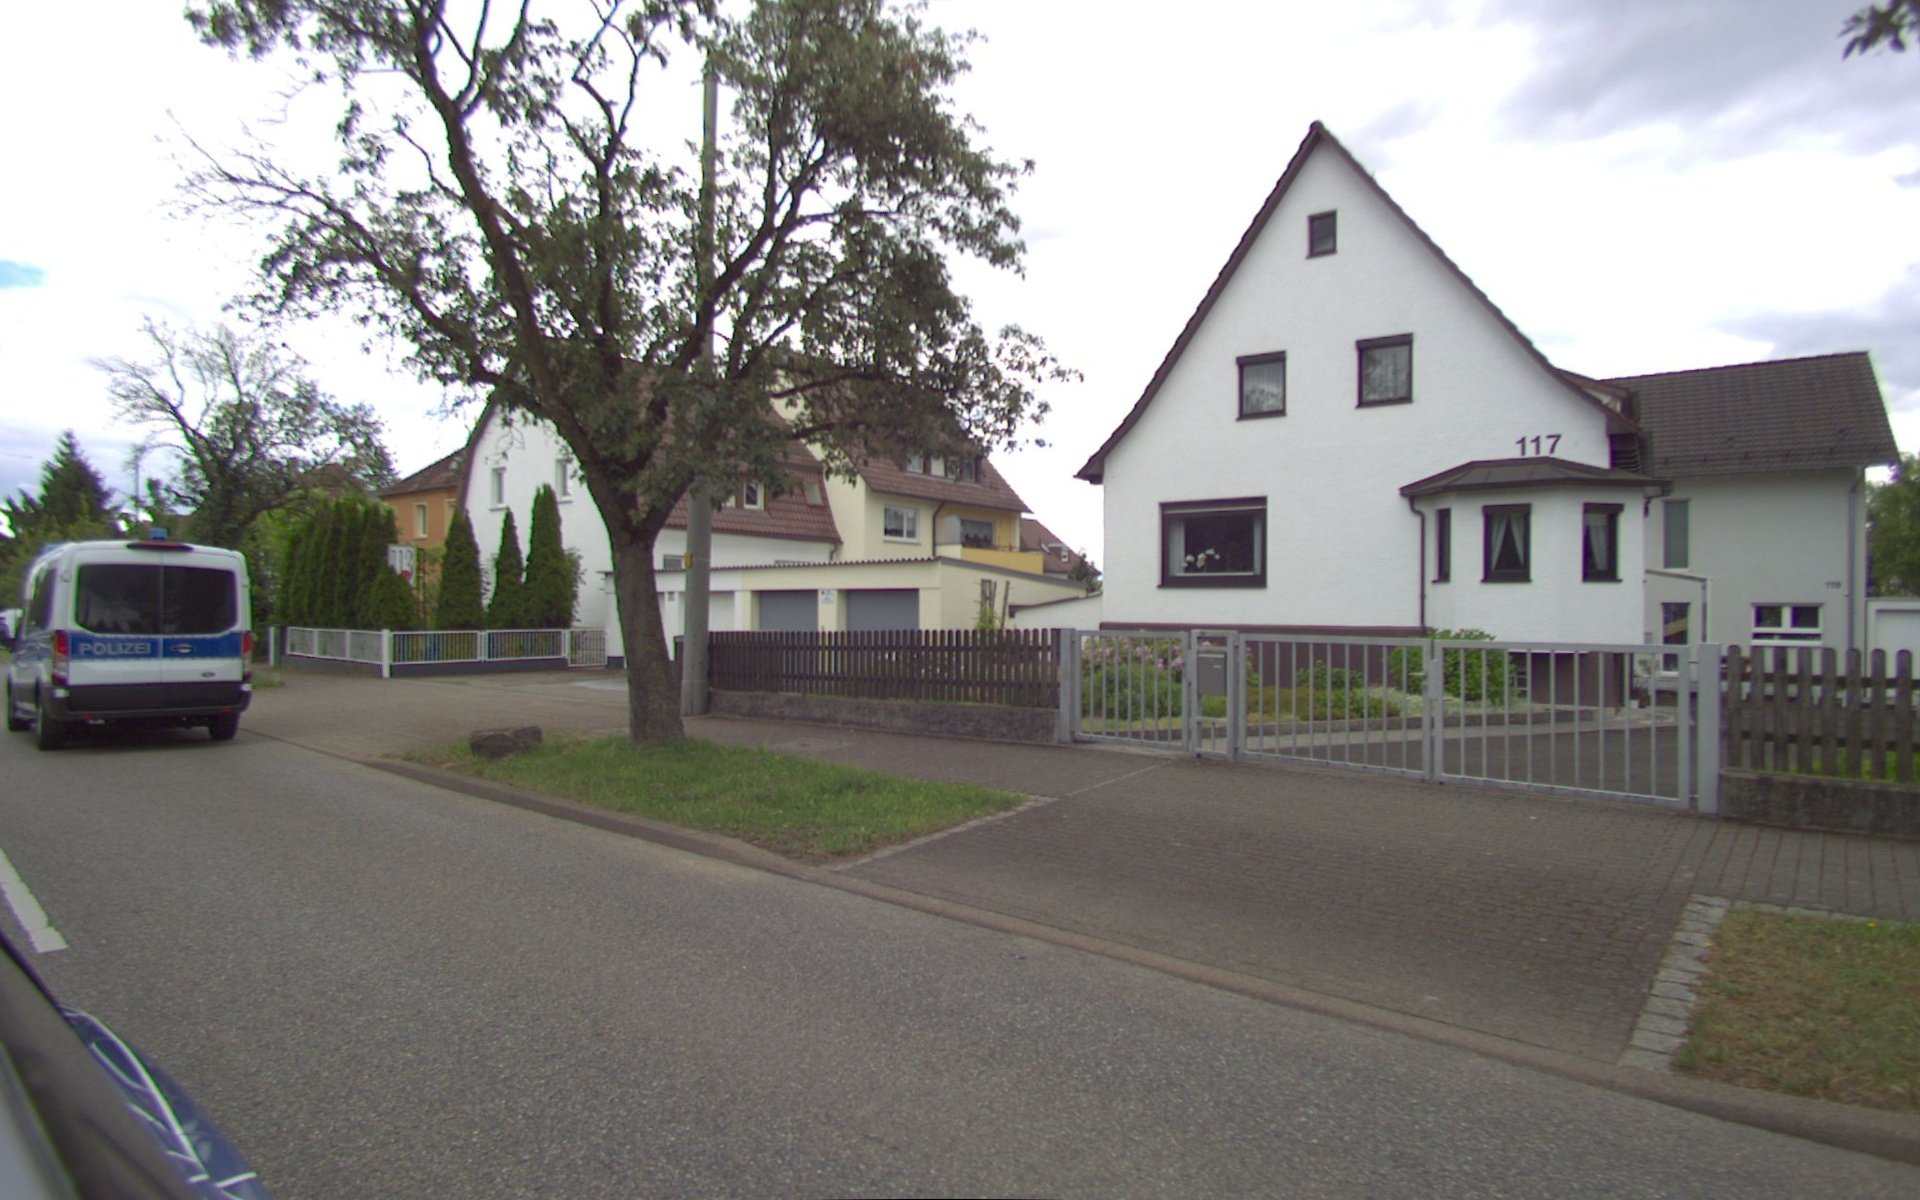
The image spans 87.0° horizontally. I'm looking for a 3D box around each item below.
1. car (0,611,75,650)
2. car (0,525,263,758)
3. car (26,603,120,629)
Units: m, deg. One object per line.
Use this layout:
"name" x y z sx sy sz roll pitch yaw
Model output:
"car" -64.863 2.055 69.664 5.526 2.583 2.137 3 -2 -30
"car" -11.581 0.550 13.834 5.297 2.602 2.051 -1 -4 41
"car" -59.469 1.059 67.908 2.000 1.633 4.581 -2 -1 43
